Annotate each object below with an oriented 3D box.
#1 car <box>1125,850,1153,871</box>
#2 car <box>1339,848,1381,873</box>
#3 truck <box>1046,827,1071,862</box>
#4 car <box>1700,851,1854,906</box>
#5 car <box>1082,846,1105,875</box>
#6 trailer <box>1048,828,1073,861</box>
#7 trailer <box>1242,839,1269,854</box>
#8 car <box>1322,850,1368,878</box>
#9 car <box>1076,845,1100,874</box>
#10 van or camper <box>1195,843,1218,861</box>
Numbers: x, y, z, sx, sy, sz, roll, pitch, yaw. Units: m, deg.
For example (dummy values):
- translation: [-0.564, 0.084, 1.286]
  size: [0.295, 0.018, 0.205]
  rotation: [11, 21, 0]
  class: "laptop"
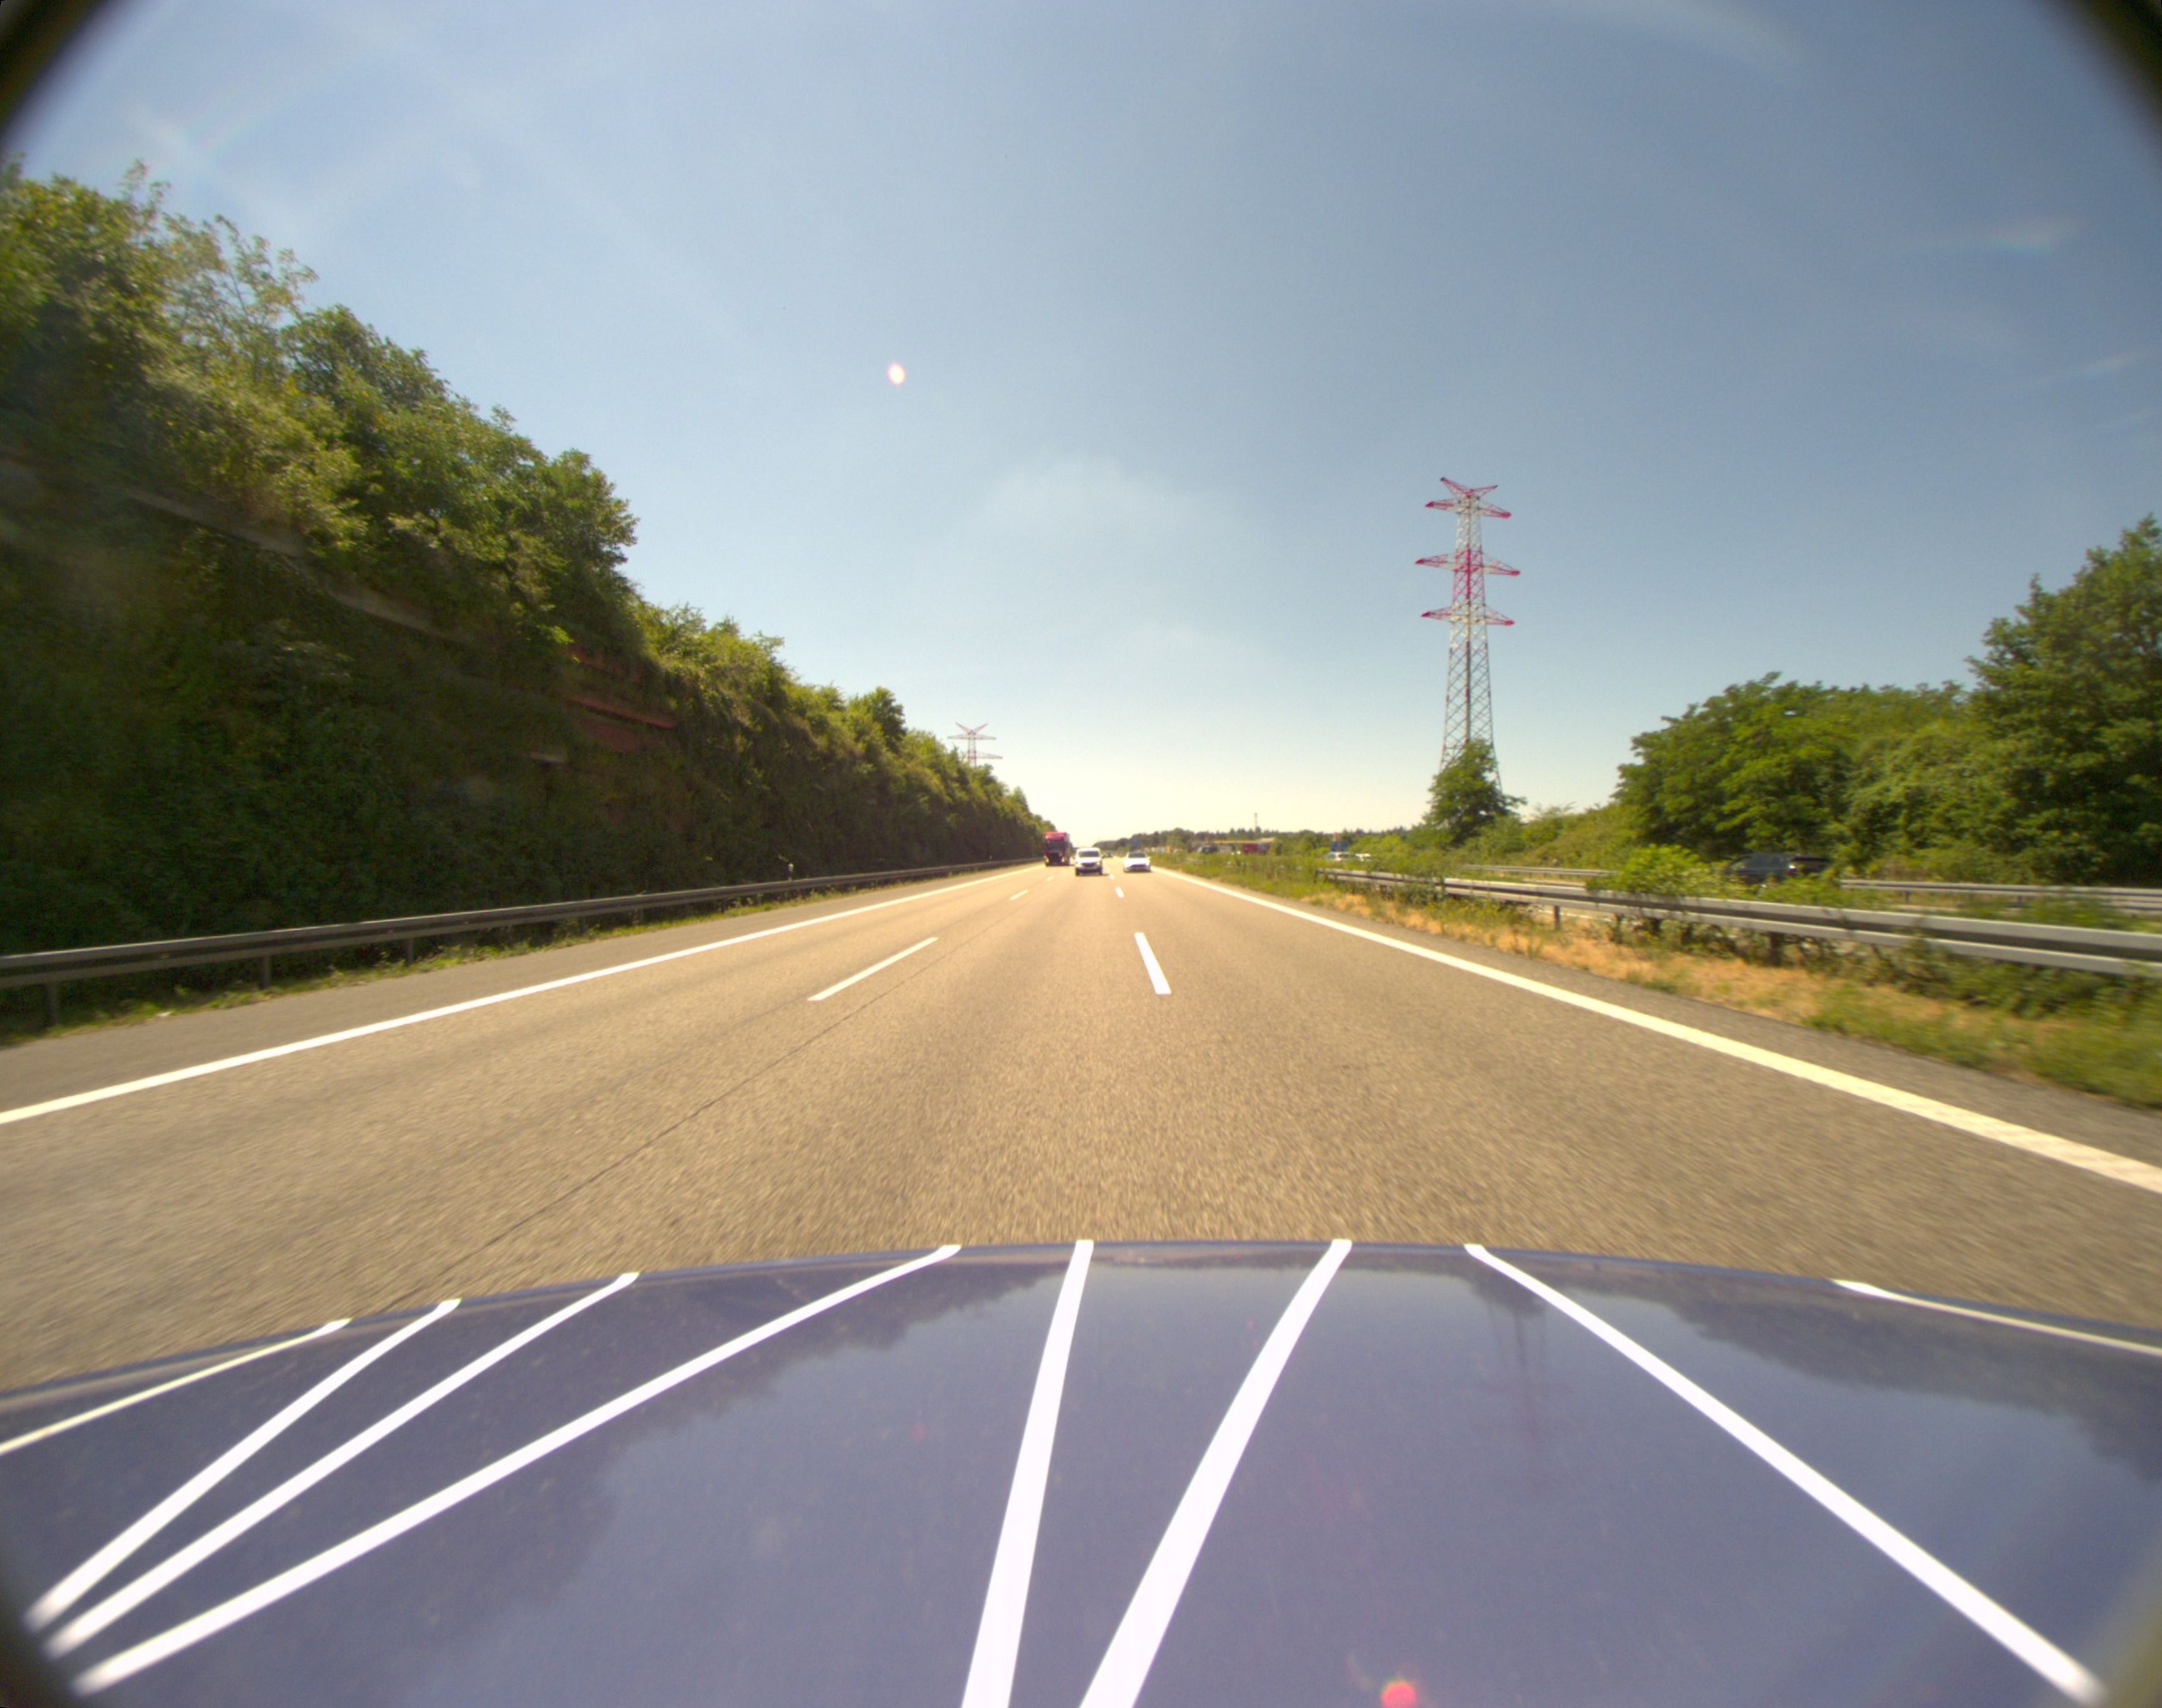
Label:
- translation: [4.089, 0.450, 54.322]
  size: [1.775, 1.410, 3.401]
  rotation: [-3, 0, 1]
  class: "car"
- translation: [21.892, 0.468, 59.775]
  size: [1.808, 1.826, 4.257]
  rotation: [-3, 0, 1]
  class: "car"
- translation: [-2.623, -1.081, 90.117]
  size: [2.505, 3.897, 7.096]
  rotation: [-2, 0, 1]
  class: "truck"
- translation: [25.209, 0.809, 27.763]
  size: [1.704, 1.758, 4.403]
  rotation: [-3, 0, 3]
  class: "car"
- translation: [0.798, 0.407, 50.112]
  size: [1.413, 1.795, 3.200]
  rotation: [-3, 0, 0]
  class: "car"
- translation: [-2.537, -1.131, 97.333]
  size: [2.496, 3.887, 14.245]
  rotation: [-2, 0, 1]
  class: "trailer"
- translation: [49.136, -2.104, 213.683]
  size: [3.123, 4.032, 11.334]
  rotation: [-2, 1, 35]
  class: "trailer"
- translation: [17.606, 0.628, 50.865]
  size: [1.704, 1.758, 4.235]
  rotation: [-3, 0, 3]
  class: "car"
- translation: [0.456, 0.346, 50.217]
  size: [1.501, 1.799, 3.394]
  rotation: [-3, 0, 0]
  class: "car"
- translation: [13.926, -0.237, 84.551]
  size: [1.849, 1.802, 4.874]
  rotation: [-3, 0, 1]
  class: "van or camper"
